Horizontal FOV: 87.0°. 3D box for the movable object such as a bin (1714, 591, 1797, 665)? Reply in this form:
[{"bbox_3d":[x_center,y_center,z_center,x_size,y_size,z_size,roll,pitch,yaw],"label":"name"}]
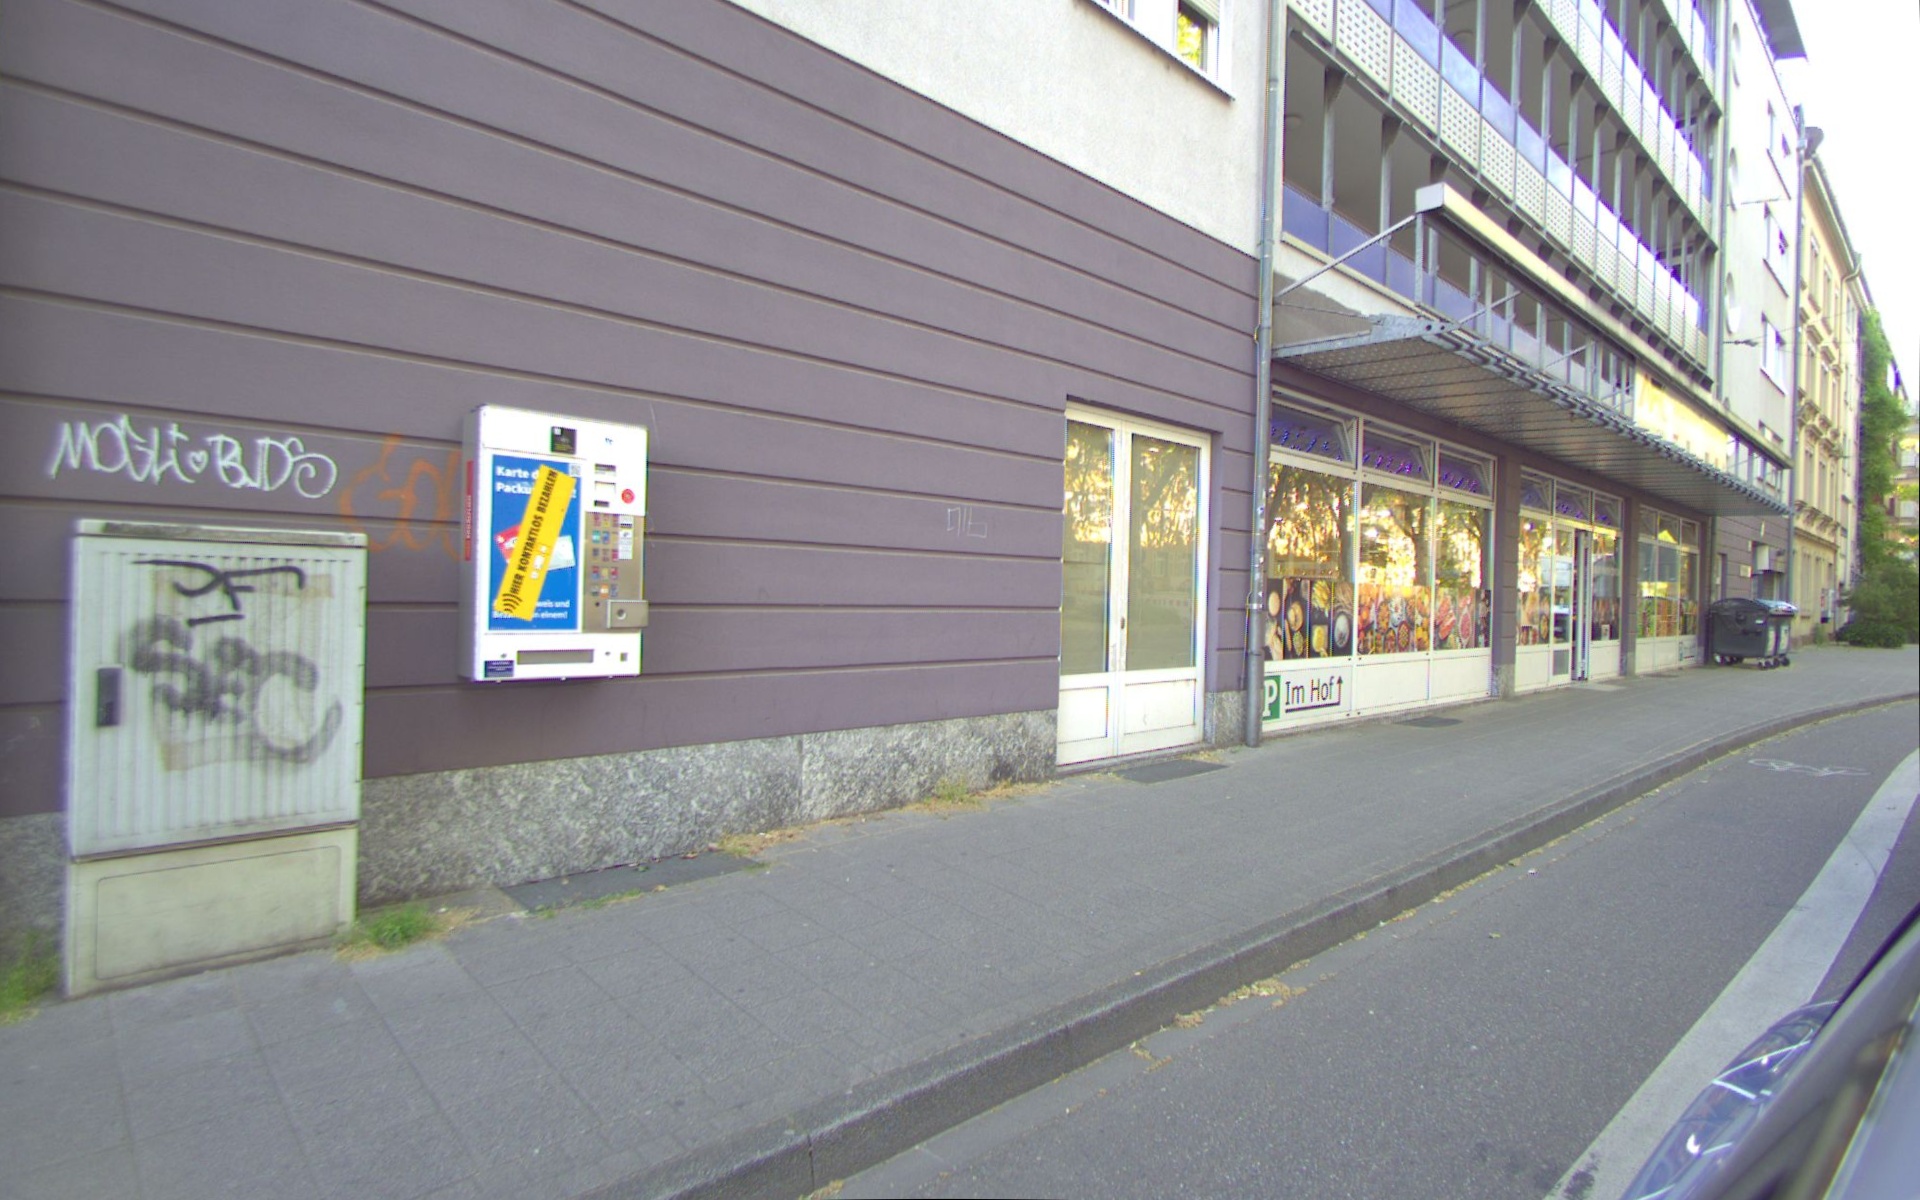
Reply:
[{"bbox_3d":[16.326,0.547,20.776,0.923,1.444,1.158,1,1,-40],"label":"movable object such as a bin"}]

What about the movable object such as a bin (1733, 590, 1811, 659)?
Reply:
[{"bbox_3d":[17.779,0.511,22.159,0.923,1.444,1.158,1,1,-40],"label":"movable object such as a bin"}]
